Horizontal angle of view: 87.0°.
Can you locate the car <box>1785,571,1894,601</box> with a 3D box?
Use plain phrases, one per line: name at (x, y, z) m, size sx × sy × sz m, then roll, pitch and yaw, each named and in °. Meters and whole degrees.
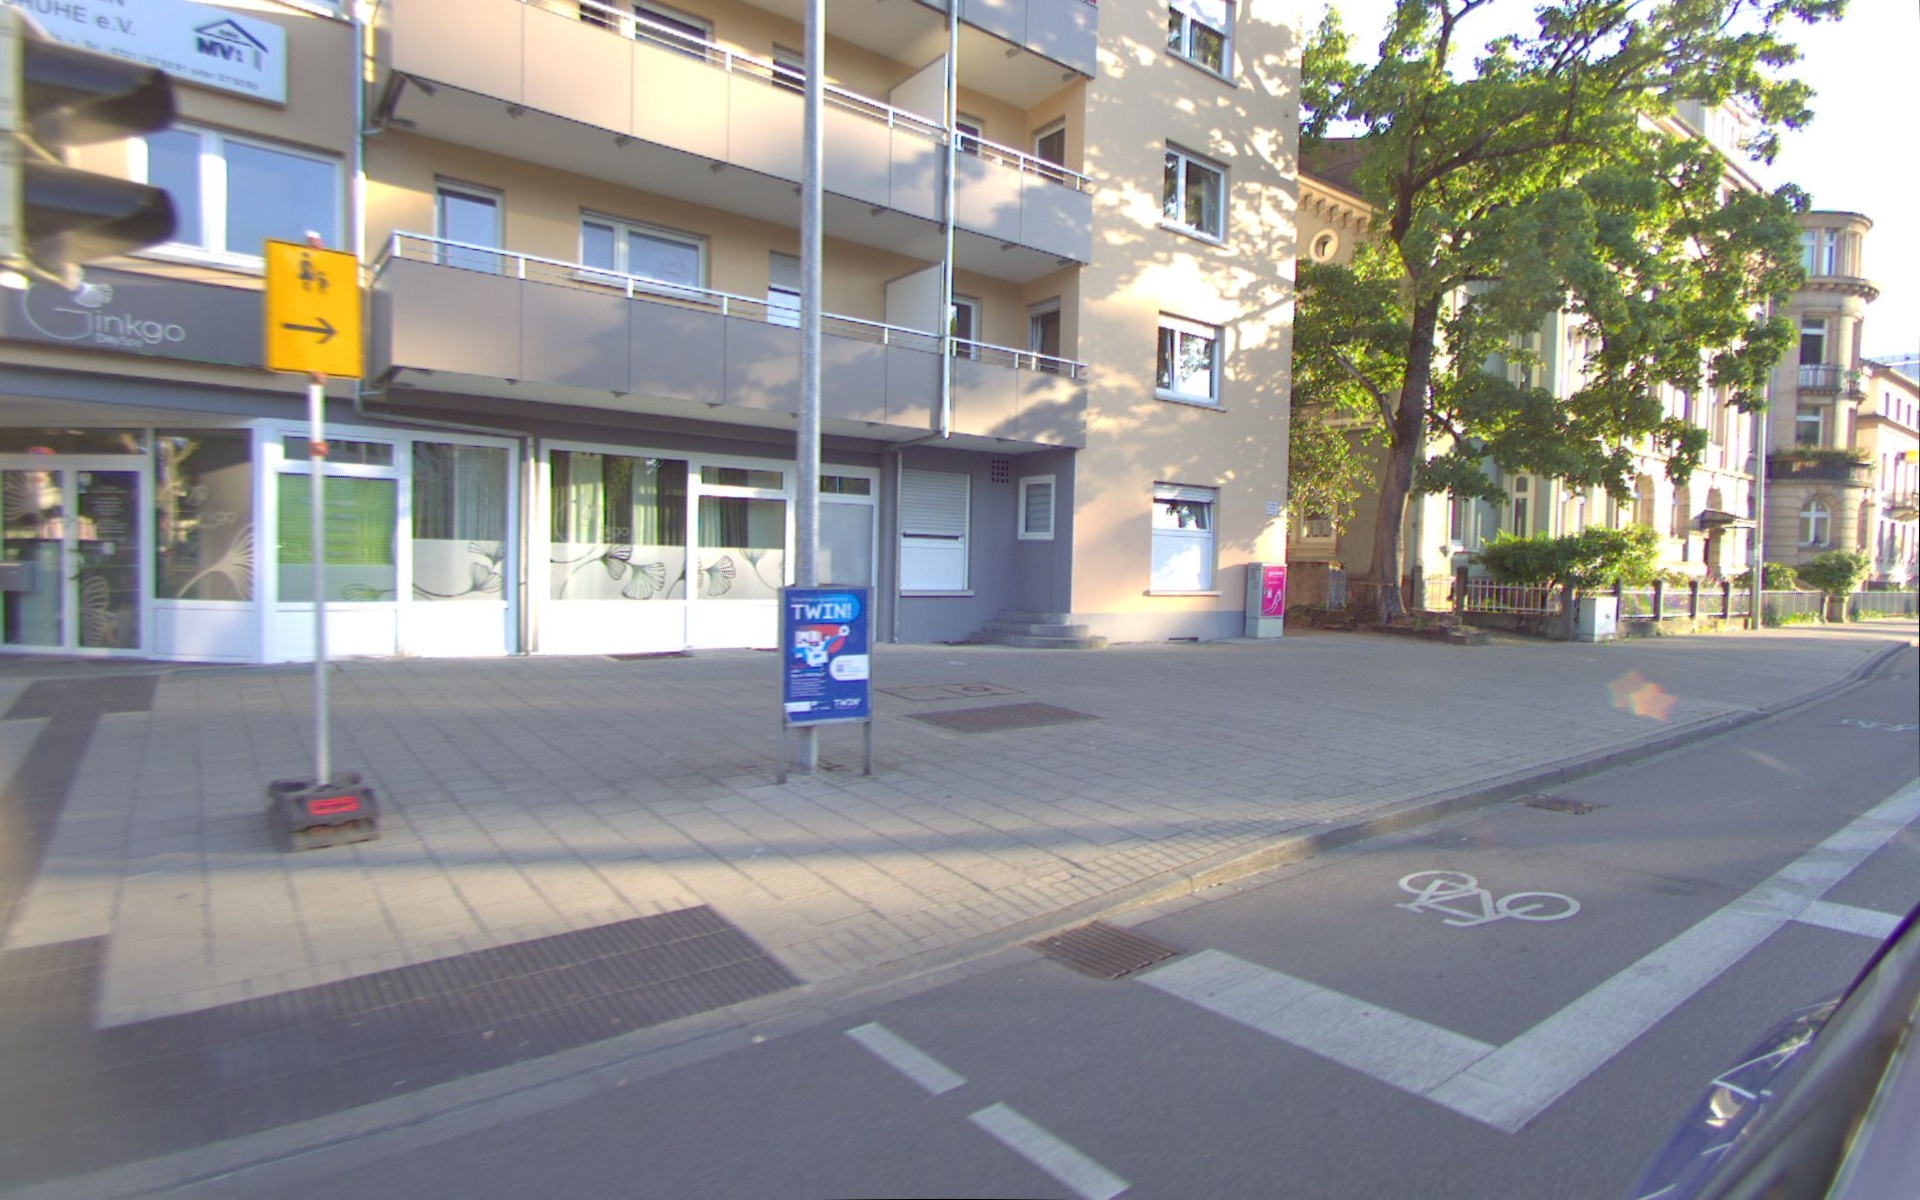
car at (46.676, -0.784, 53.777) m, size 1.903 × 1.499 × 4.099 m, roll 0°, pitch 2°, yaw -37°
